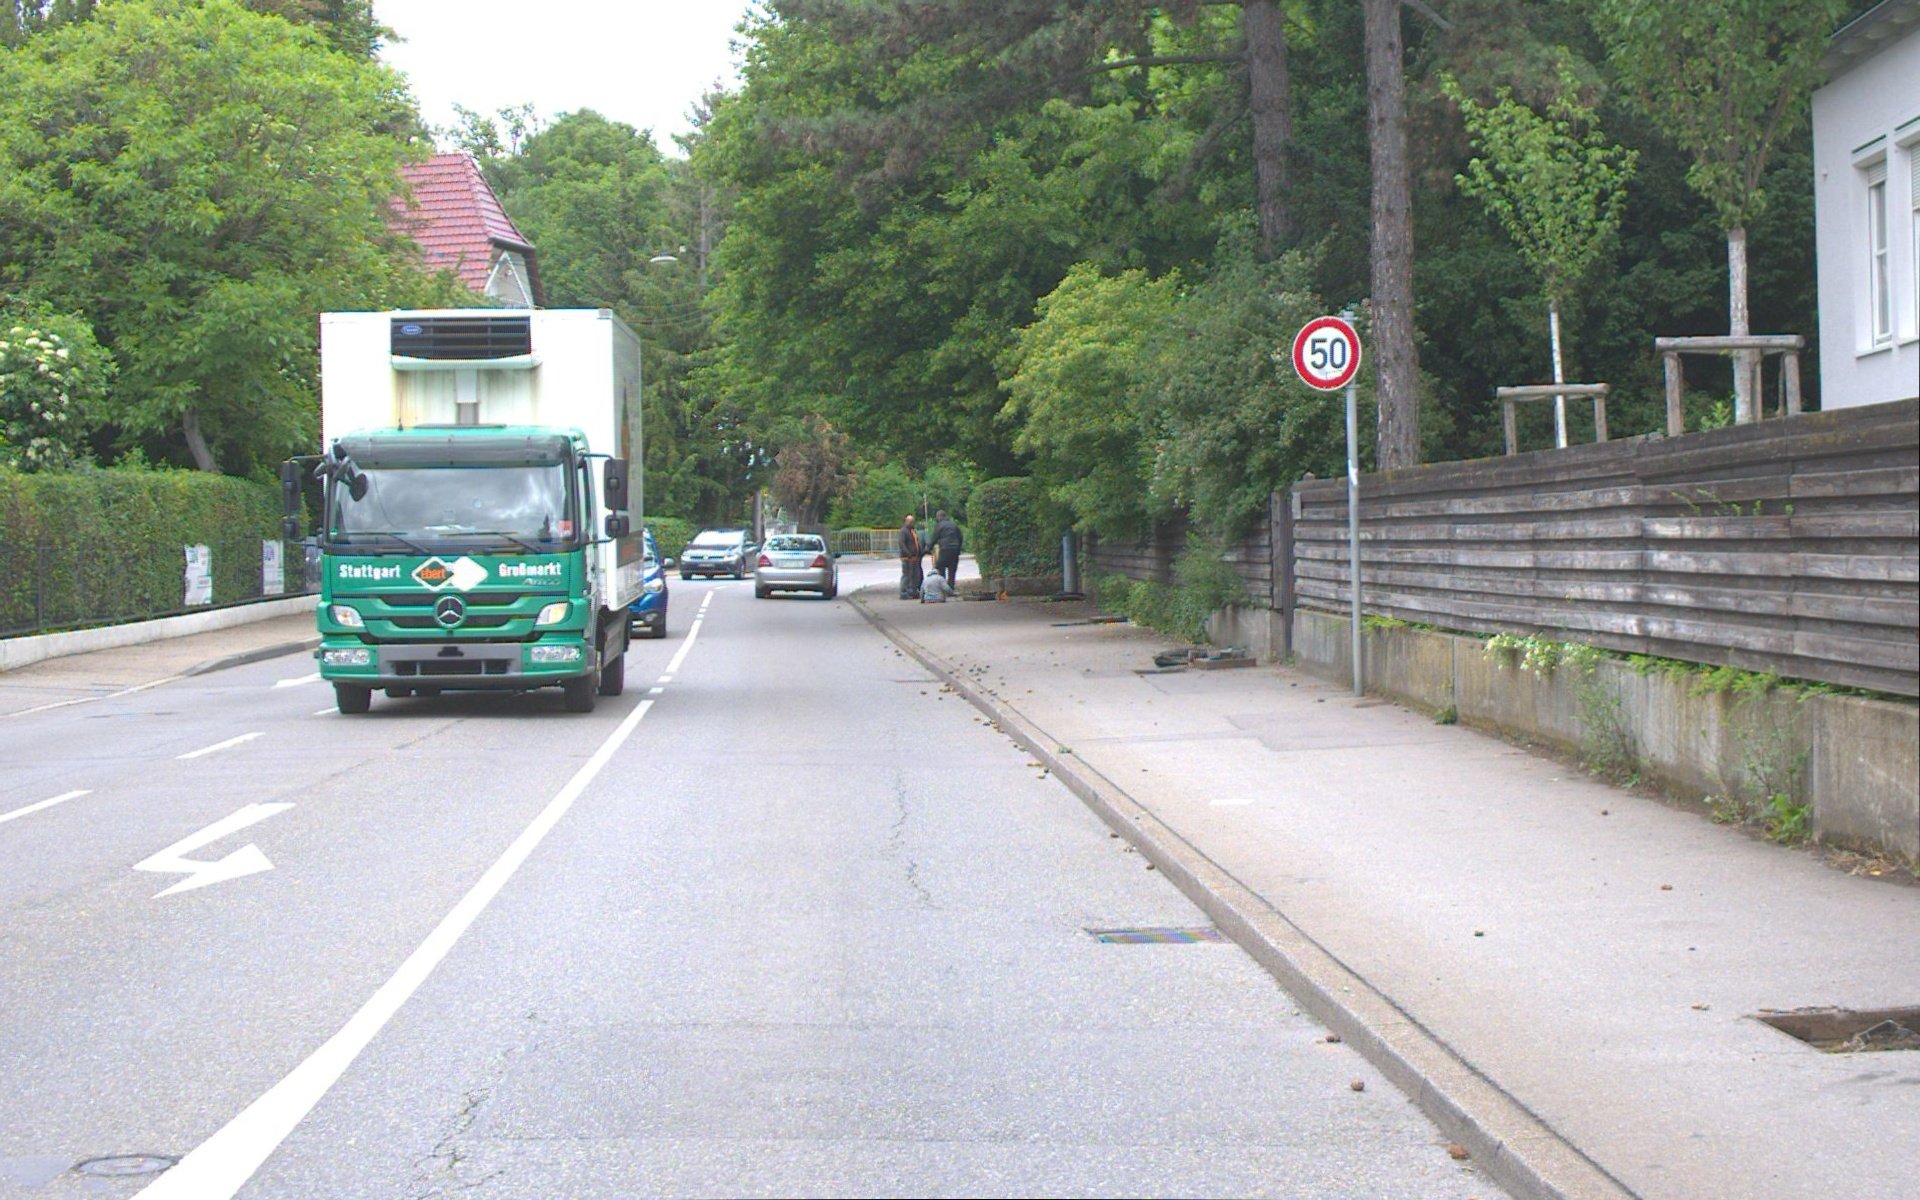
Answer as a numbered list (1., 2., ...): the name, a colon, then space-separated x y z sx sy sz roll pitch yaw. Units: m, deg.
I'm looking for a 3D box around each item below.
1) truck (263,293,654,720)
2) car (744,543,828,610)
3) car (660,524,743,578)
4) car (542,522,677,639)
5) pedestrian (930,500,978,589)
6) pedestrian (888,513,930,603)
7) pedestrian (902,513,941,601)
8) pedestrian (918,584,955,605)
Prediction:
1. truck: -4.426 -0.761 31.824 2.777 3.449 7.494 -1 0 -2
2. car: -3.832 -0.497 76.237 1.797 1.410 4.336 -1 0 -2
3. car: -7.227 -1.379 96.469 1.681 1.466 4.017 -1 1 5
4. car: -5.469 -0.323 53.263 1.805 1.711 4.380 -1 1 -9
5. pedestrian: -0.119 -1.135 70.352 0.689 1.801 0.673 -1 1 -44
6. pedestrian: -1.034 -0.849 69.634 0.807 1.801 0.741 -1 1 -4
7. pedestrian: -0.794 -0.888 70.564 0.601 1.801 0.517 0 1 37
8. pedestrian: -0.466 -0.111 67.291 0.672 0.392 0.741 -1 1 -4
